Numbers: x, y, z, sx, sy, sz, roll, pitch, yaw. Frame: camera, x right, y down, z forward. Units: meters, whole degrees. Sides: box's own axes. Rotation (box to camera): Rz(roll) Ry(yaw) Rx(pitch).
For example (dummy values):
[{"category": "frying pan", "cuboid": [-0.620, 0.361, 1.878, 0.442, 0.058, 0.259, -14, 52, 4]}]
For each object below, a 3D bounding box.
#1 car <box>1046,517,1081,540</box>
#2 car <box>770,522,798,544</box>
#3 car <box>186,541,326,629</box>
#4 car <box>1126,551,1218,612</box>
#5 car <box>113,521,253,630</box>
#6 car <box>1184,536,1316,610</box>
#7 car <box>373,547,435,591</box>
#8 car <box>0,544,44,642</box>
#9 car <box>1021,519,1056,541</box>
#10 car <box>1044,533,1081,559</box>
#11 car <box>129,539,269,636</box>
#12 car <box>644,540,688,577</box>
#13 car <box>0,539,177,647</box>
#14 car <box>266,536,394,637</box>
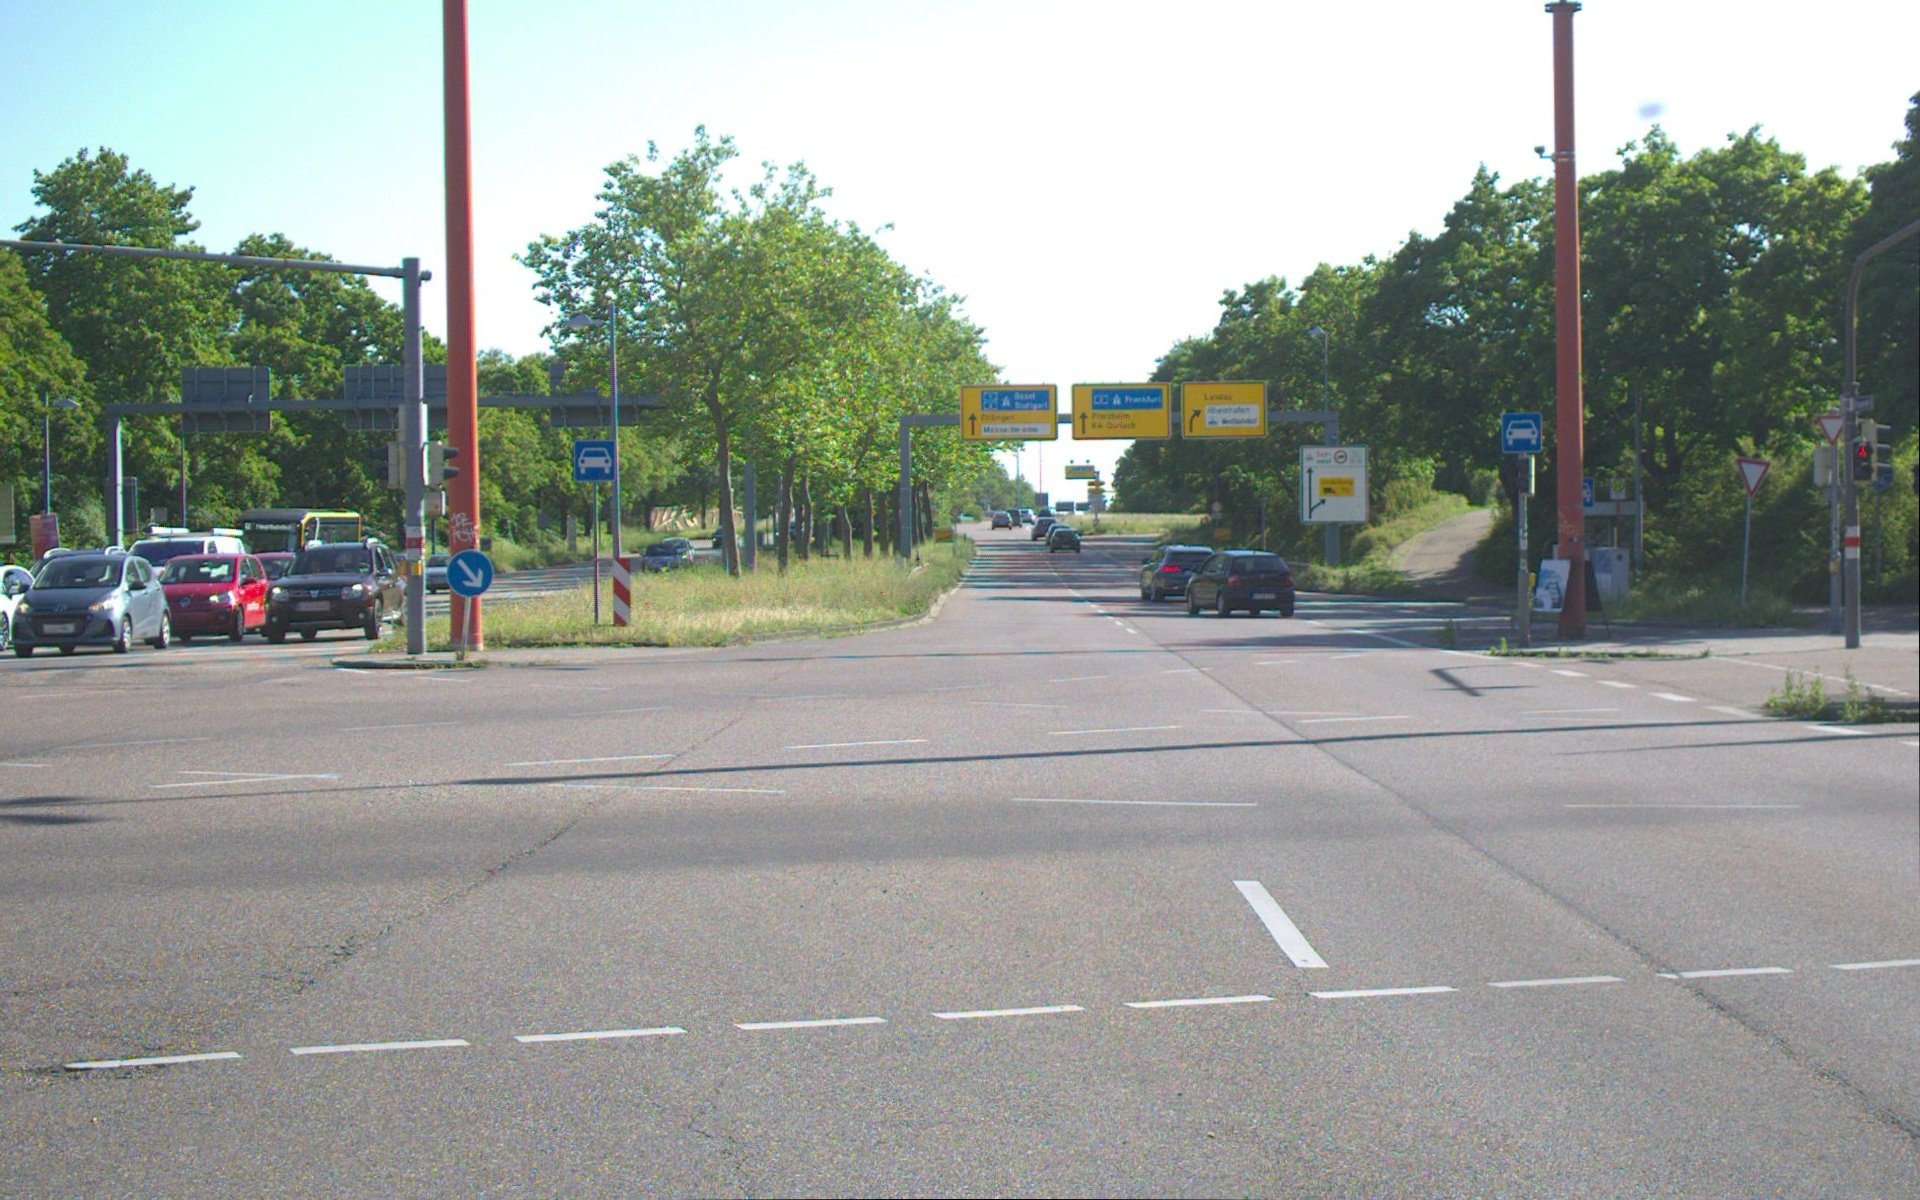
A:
[{"category": "car", "cuboid": [7.005, -4.844, 233.144, 2.159, 1.568, 4.281, -1, 1, -2]}, {"category": "car", "cuboid": [-12.649, -4.826, 247.273, 1.876, 1.568, 4.121, -1, 1, -5]}, {"category": "car", "cuboid": [-13.115, -0.300, 64.246, 1.993, 1.568, 4.121, -1, 1, -4]}, {"category": "car", "cuboid": [5.700, -0.512, 92.815, 2.159, 1.568, 4.583, -1, 1, 0]}, {"category": "car", "cuboid": [-16.114, -0.532, 71.507, 2.062, 2.185, 4.379, -1, 1, -2]}, {"category": "car", "cuboid": [6.380, -0.609, 76.062, 2.158, 1.568, 4.282, -1, 1, -6]}, {"category": "car", "cuboid": [-20.218, -1.140, 125.131, 1.876, 1.568, 4.121, -1, 1, -5]}, {"category": "car", "cuboid": [-16.487, -0.121, 57.035, 1.993, 1.568, 4.122, -2, 1, -8]}, {"category": "car", "cuboid": [5.772, -5.148, 253.611, 2.158, 1.568, 4.281, -1, 1, -4]}, {"category": "car", "cuboid": [6.197, -3.261, 208.051, 2.159, 1.568, 4.281, -1, 1, 1]}, {"category": "car", "cuboid": [-12.898, -0.239, 58.467, 1.993, 1.568, 4.122, -1, 1, -8]}, {"category": "car", "cuboid": [-12.870, -1.829, 150.353, 1.876, 1.568, 4.121, -1, 1, -5]}, {"category": "car", "cuboid": [-13.252, -0.135, 52.166, 1.993, 1.568, 4.121, -1, 1, -3]}, {"category": "car", "cuboid": [-10.246, -0.248, 56.147, 1.876, 1.568, 4.122, -1, 1, -8]}]
